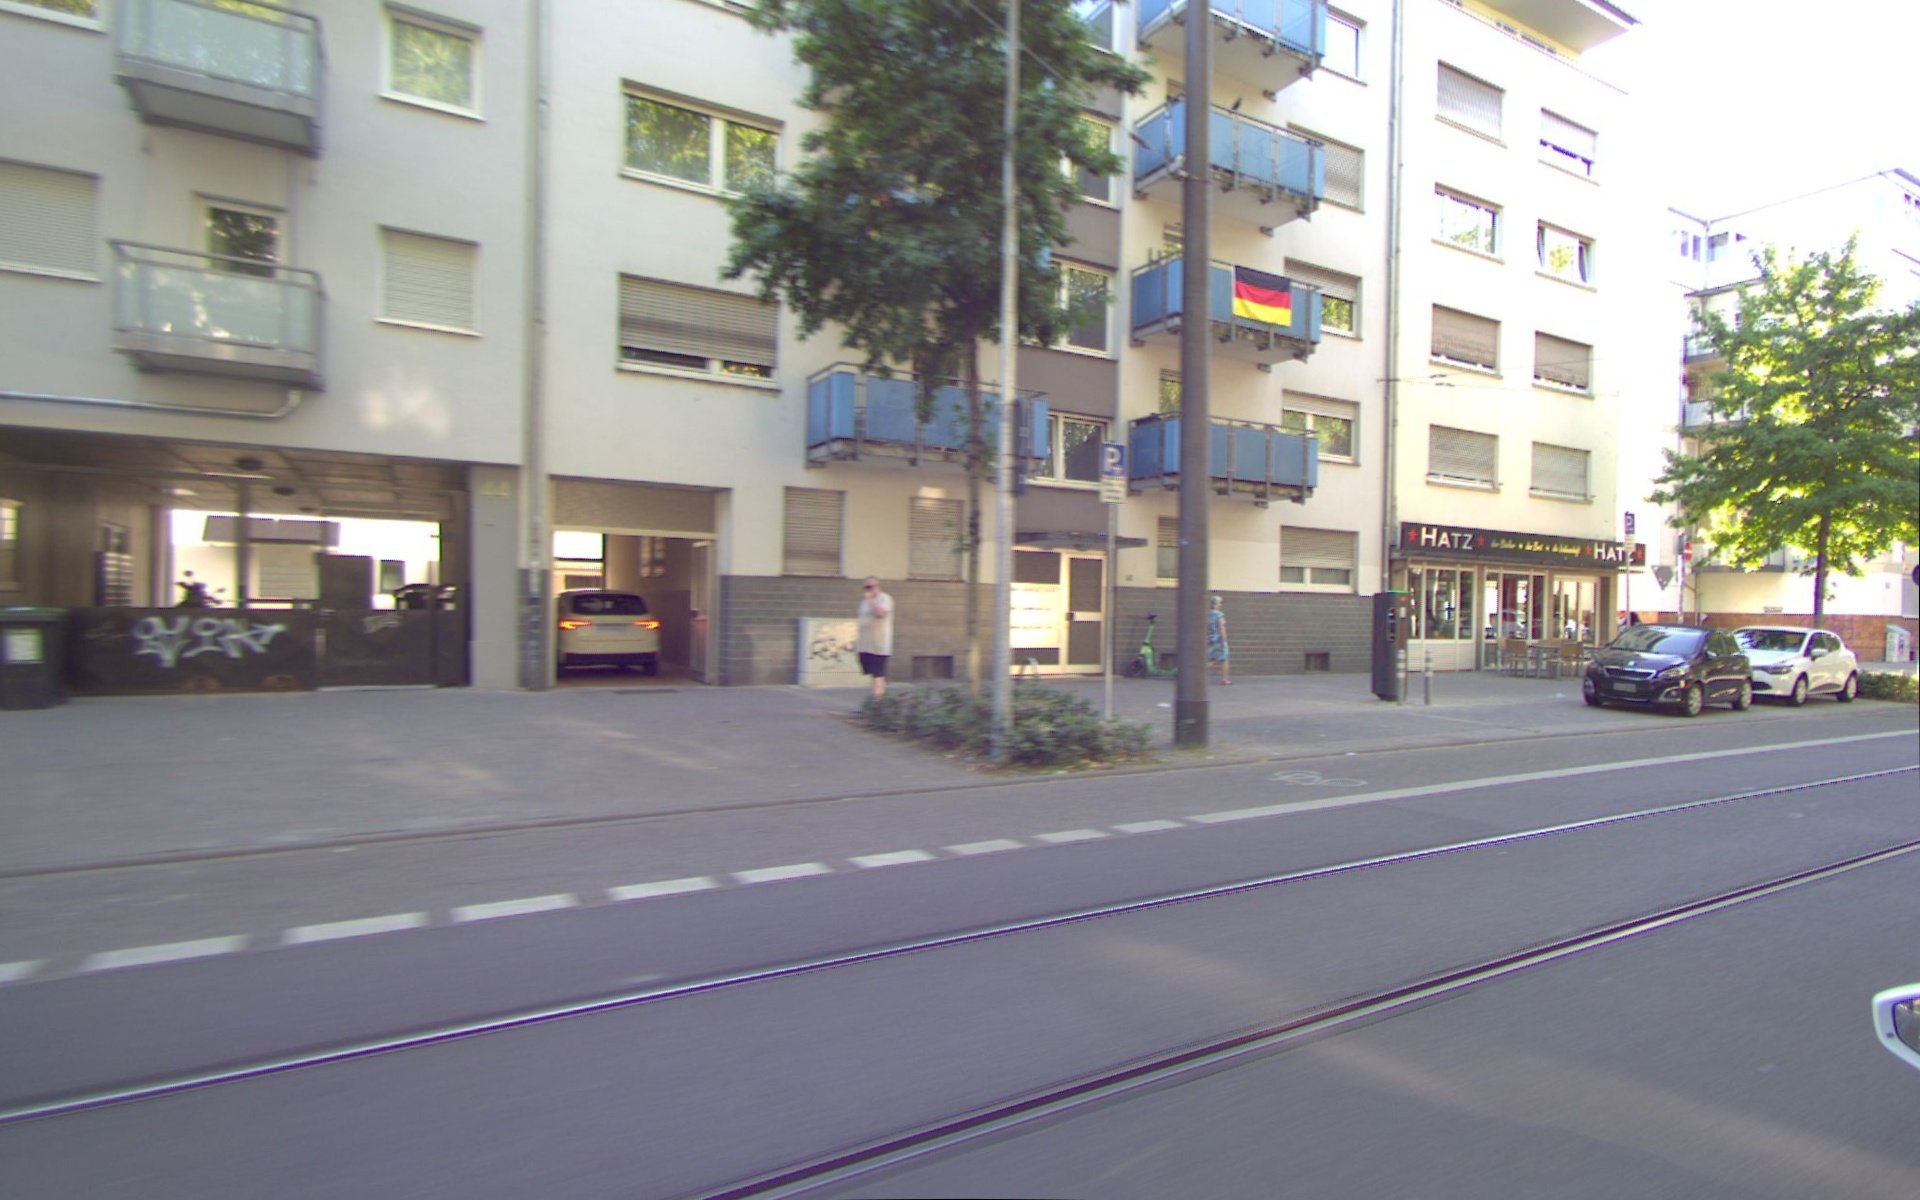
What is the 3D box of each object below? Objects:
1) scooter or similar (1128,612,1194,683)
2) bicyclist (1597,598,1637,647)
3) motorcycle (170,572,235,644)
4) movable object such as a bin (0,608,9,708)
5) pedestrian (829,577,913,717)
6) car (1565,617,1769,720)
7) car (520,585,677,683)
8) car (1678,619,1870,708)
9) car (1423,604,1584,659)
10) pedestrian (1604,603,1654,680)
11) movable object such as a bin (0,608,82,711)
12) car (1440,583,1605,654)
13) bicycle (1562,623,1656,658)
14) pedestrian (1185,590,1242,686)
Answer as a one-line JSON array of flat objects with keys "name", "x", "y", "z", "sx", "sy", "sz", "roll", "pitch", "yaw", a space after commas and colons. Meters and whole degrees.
[{"name": "scooter or similar", "x": 3.790, "y": 0.900, "z": 18.908, "sx": 1.219, "sy": 1.306, "sz": 0.374, "roll": 1, "pitch": -2, "yaw": -23}, {"name": "bicyclist", "x": 23.778, "y": 0.817, "z": 36.359, "sx": 0.896, "sy": 1.727, "sz": 0.868, "roll": 1, "pitch": 0, "yaw": -26}, {"name": "motorcycle", "x": -15.654, "y": 0.162, "z": 20.816, "sx": 0.977, "sy": 1.420, "sz": 2.201, "roll": 1, "pitch": 0, "yaw": -35}, {"name": "movable object such as a bin", "x": -10.458, "y": 0.615, "z": 10.465, "sx": 0.614, "sy": 1.069, "sz": 0.675, "roll": 1, "pitch": -1, "yaw": -28}, {"name": "pedestrian", "x": -1.137, "y": 0.580, "z": 12.798, "sx": 0.785, "sy": 1.713, "sz": 0.760, "roll": 1, "pitch": 0, "yaw": -31}, {"name": "car", "x": 12.415, "y": 1.130, "z": 17.571, "sx": 3.963, "sy": 1.484, "sz": 1.701, "roll": 1, "pitch": 3, "yaw": -37}, {"name": "car", "x": -6.506, "y": 0.523, "z": 17.819, "sx": 1.831, "sy": 1.495, "sz": 3.991, "roll": 2, "pitch": 0, "yaw": -31}, {"name": "car", "x": 16.302, "y": 1.208, "z": 20.053, "sx": 4.331, "sy": 1.484, "sz": 1.702, "roll": 2, "pitch": 3, "yaw": -34}, {"name": "car", "x": 19.880, "y": 1.112, "z": 36.937, "sx": 2.017, "sy": 1.846, "sz": 4.846, "roll": 1, "pitch": 0, "yaw": -33}, {"name": "pedestrian", "x": 15.240, "y": 0.935, "z": 22.883, "sx": 0.740, "sy": 1.713, "sz": 0.660, "roll": 1, "pitch": 0, "yaw": -31}, {"name": "movable object such as a bin", "x": -9.910, "y": 0.620, "z": 10.779, "sx": 0.567, "sy": 1.069, "sz": 0.670, "roll": 1, "pitch": -1, "yaw": -28}, {"name": "car", "x": 23.489, "y": 0.736, "z": 42.221, "sx": 2.145, "sy": 2.760, "sz": 5.778, "roll": 1, "pitch": 0, "yaw": -31}, {"name": "bicycle", "x": 23.614, "y": 1.455, "z": 36.630, "sx": 0.909, "sy": 1.172, "sz": 2.786, "roll": 1, "pitch": 0, "yaw": -26}, {"name": "pedestrian", "x": 4.637, "y": 0.690, "z": 18.361, "sx": 0.740, "sy": 1.713, "sz": 0.660, "roll": 1, "pitch": 0, "yaw": -31}]
